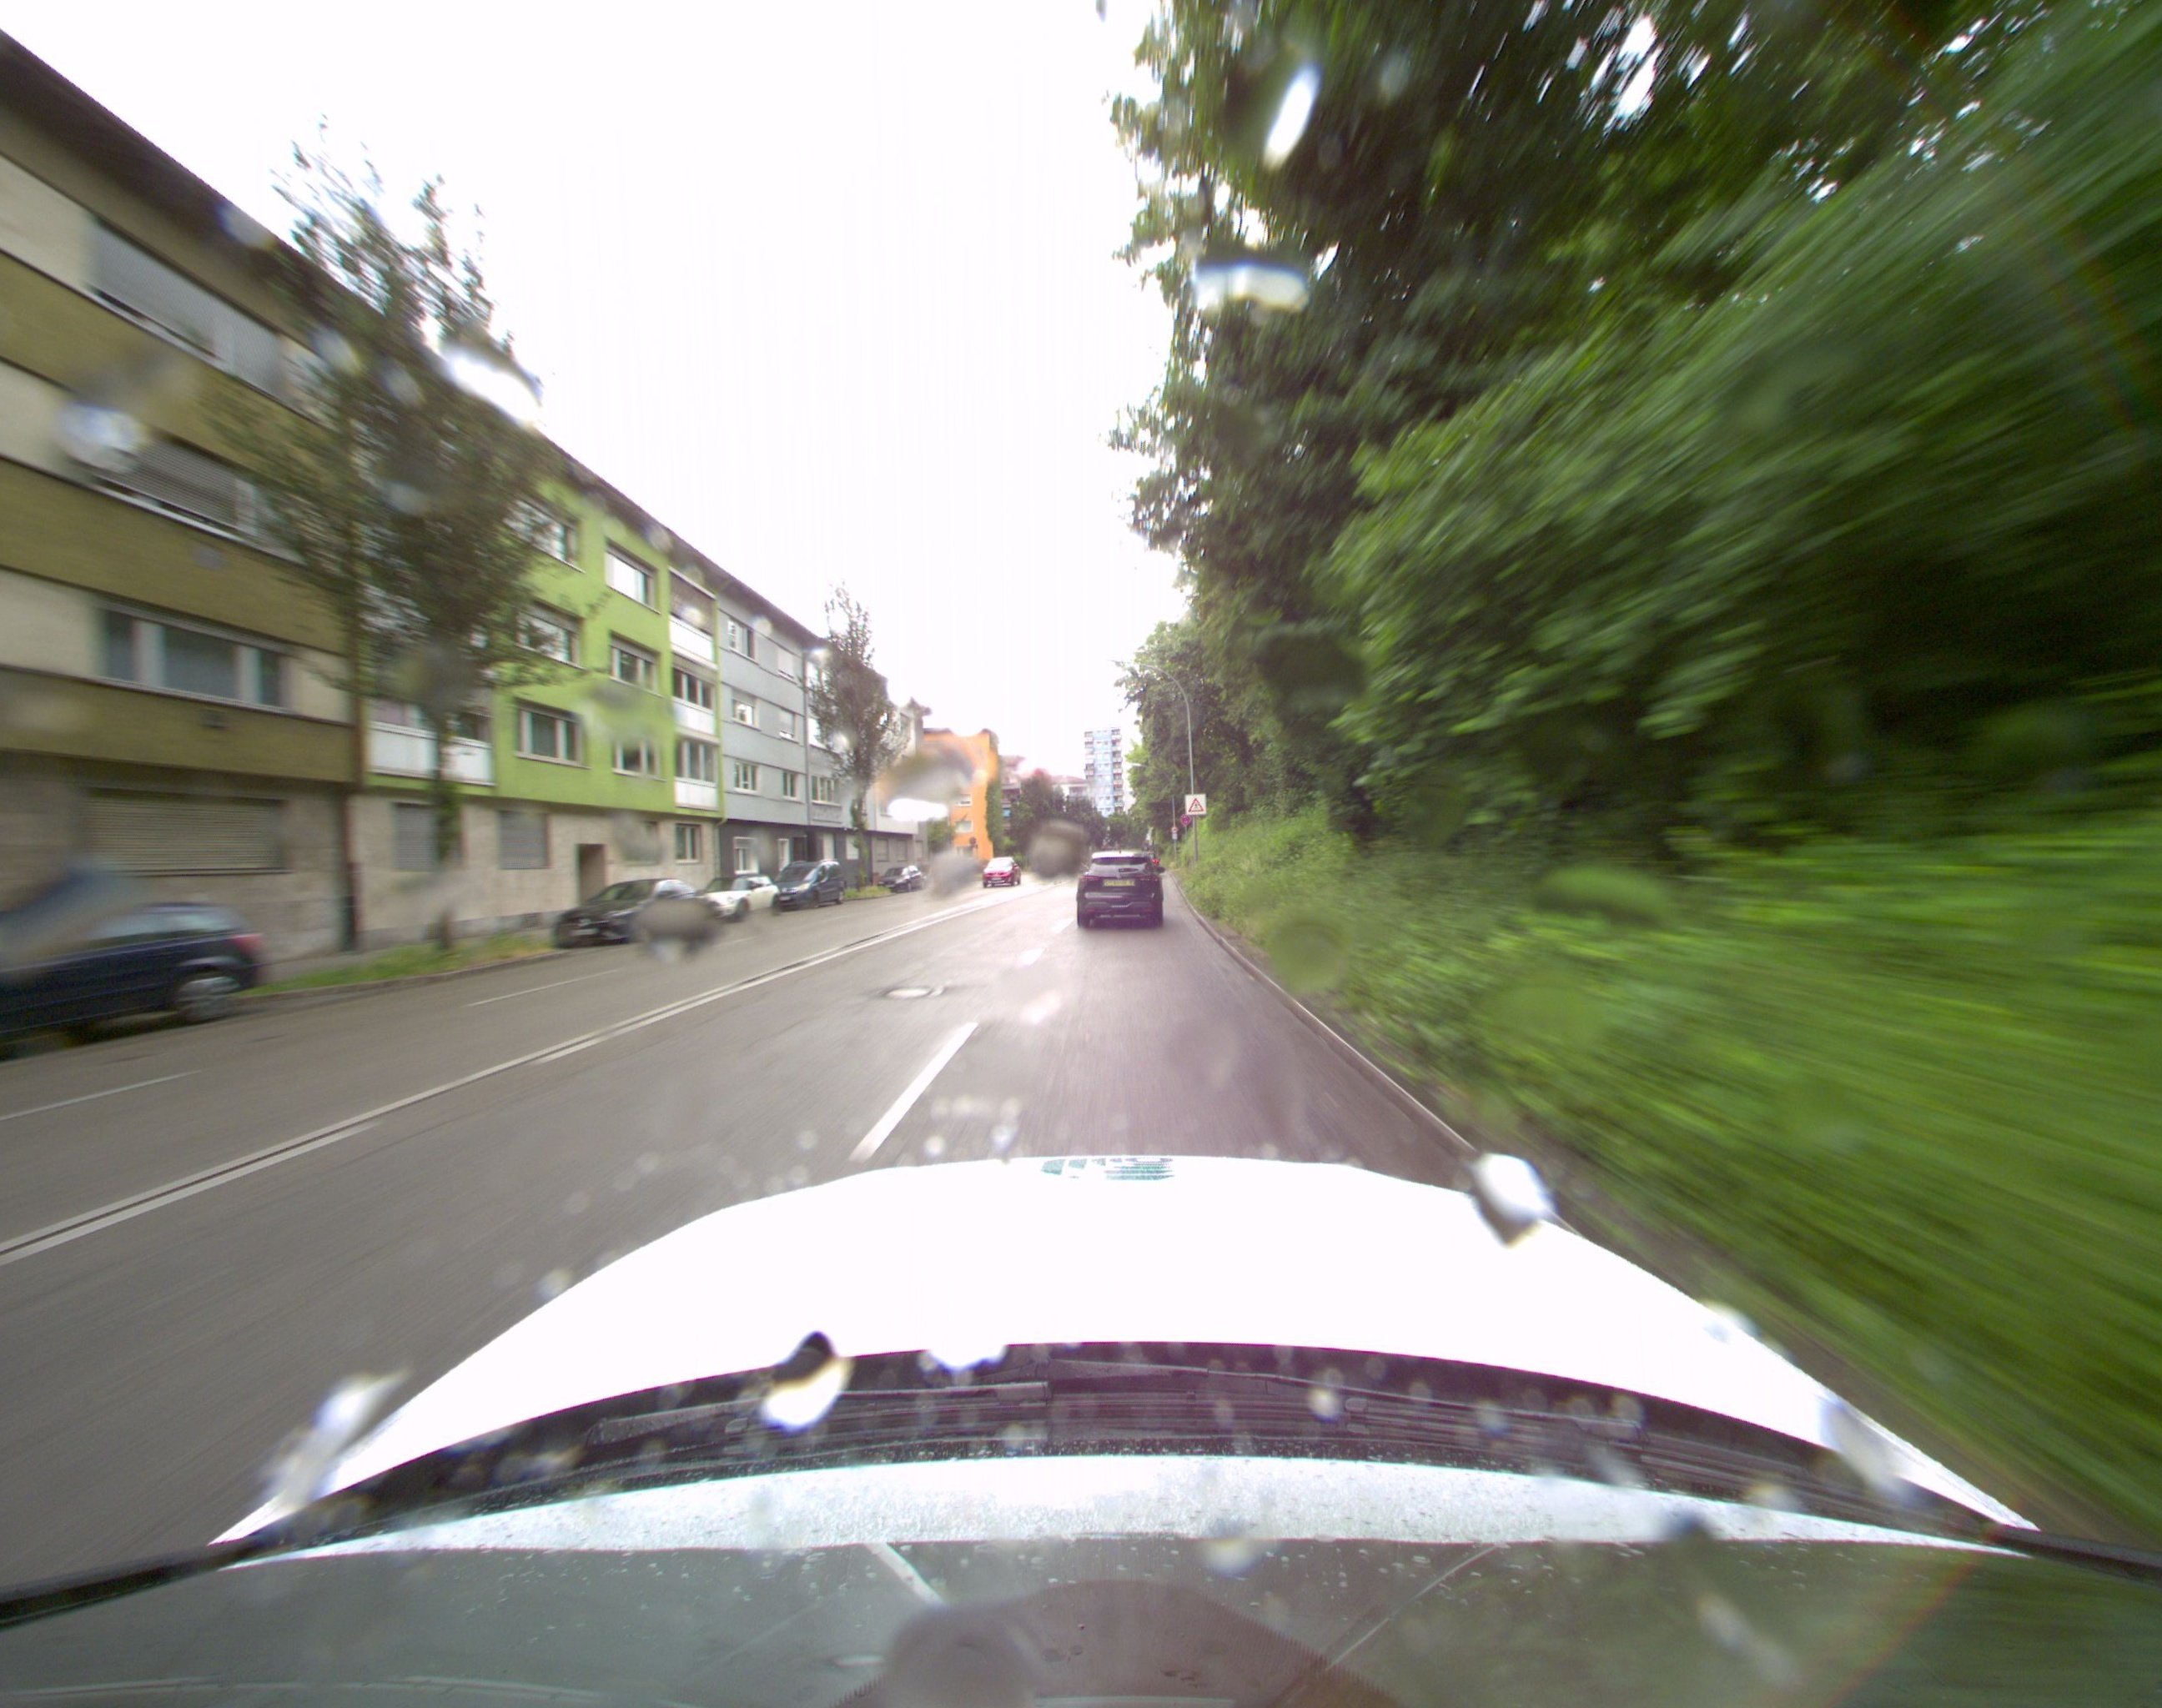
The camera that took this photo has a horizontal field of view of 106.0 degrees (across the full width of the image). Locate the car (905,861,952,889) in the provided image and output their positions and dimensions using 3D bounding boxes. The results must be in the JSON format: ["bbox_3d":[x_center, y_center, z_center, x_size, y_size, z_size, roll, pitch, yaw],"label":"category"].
[{"bbox_3d":[-9.254,1.274,49.802,1.673,1.449,4.280,-5,0,4],"label":"car"}]

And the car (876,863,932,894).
[{"bbox_3d":[-9.540,1.290,44.223,1.681,1.358,4.583,-5,0,3],"label":"car"}]

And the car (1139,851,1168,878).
[{"bbox_3d":[4.876,0.677,55.242,1.878,1.711,4.004,-2,0,4],"label":"car"}]

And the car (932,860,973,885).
[{"bbox_3d":[-8.775,1.245,55.970,1.705,1.425,4.327,-4,0,4],"label":"car"}]

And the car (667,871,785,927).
[{"bbox_3d":[-10.797,1.314,25.084,1.674,1.376,4.002,-4,0,2],"label":"car"}]

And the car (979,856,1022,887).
[{"bbox_3d":[-4.287,0.913,43.788,1.700,1.478,3.682,-3,0,2],"label":"car"}]

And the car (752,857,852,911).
[{"bbox_3d":[-10.524,1.071,31.122,1.883,1.766,4.604,-4,0,3],"label":"car"}]

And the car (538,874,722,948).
[{"bbox_3d":[-10.793,1.286,19.961,1.812,1.372,4.679,-4,0,0],"label":"car"}]

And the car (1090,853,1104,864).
[{"bbox_3d":[2.301,0.634,117.867,1.780,1.504,4.652,-3,0,3],"label":"car"}]

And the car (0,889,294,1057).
[{"bbox_3d":[-11.254,1.261,8.411,1.712,1.488,4.515,-4,0,1],"label":"car"}]

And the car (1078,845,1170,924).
[{"bbox_3d":[0.995,0.614,18.476,1.837,1.582,4.004,-1,0,3],"label":"car"}]
